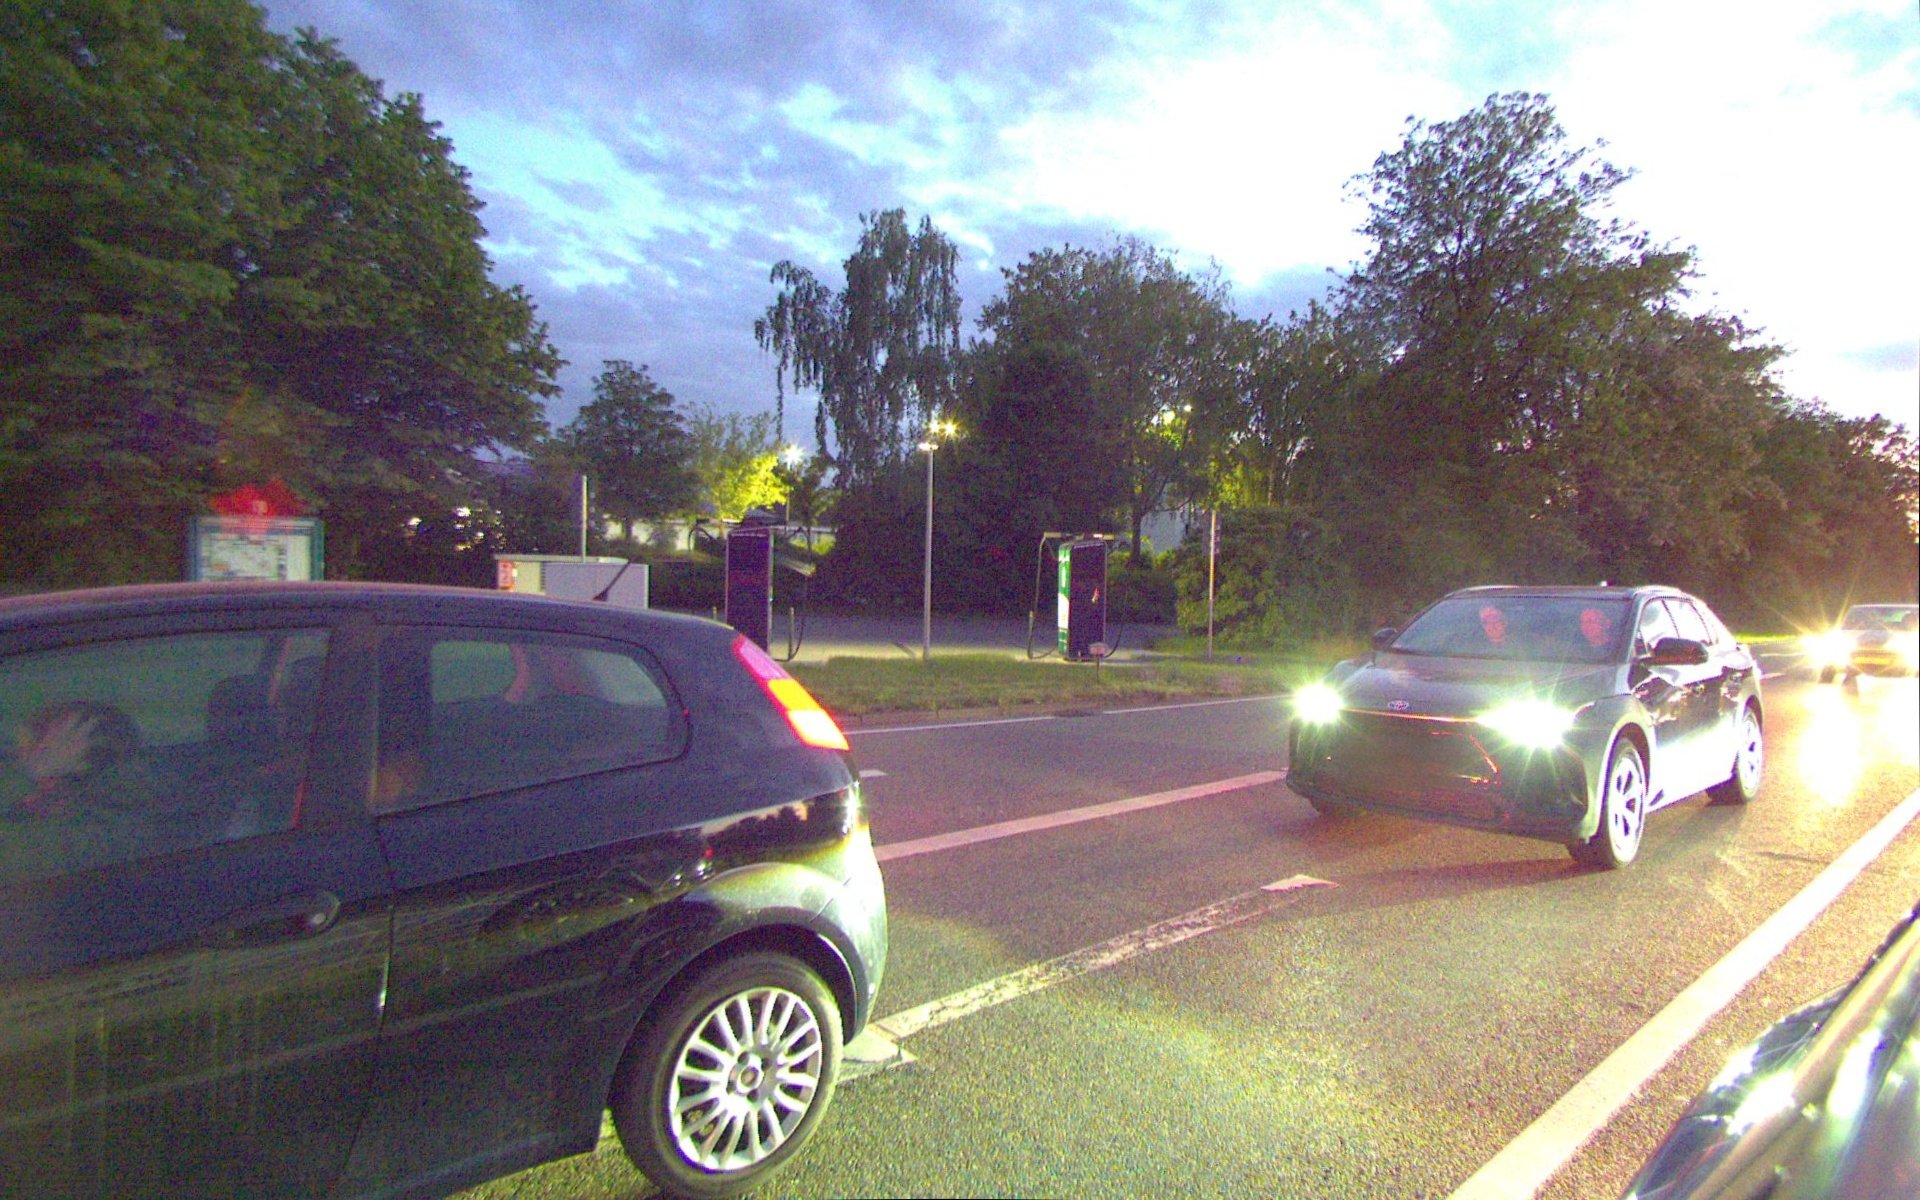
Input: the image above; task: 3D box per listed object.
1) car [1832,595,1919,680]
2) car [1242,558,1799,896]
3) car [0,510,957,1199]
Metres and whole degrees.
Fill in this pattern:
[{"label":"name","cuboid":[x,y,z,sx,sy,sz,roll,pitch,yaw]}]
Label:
[{"label":"car","cuboid":[18.084,0.662,19.346,3.803,1.487,1.622,0,0,-41]},{"label":"car","cuboid":[4.177,0.601,7.166,4.629,1.630,1.997,0,0,-41]},{"label":"car","cuboid":[-2.091,0.618,2.155,4.032,1.540,1.674,0,1,-39]}]
